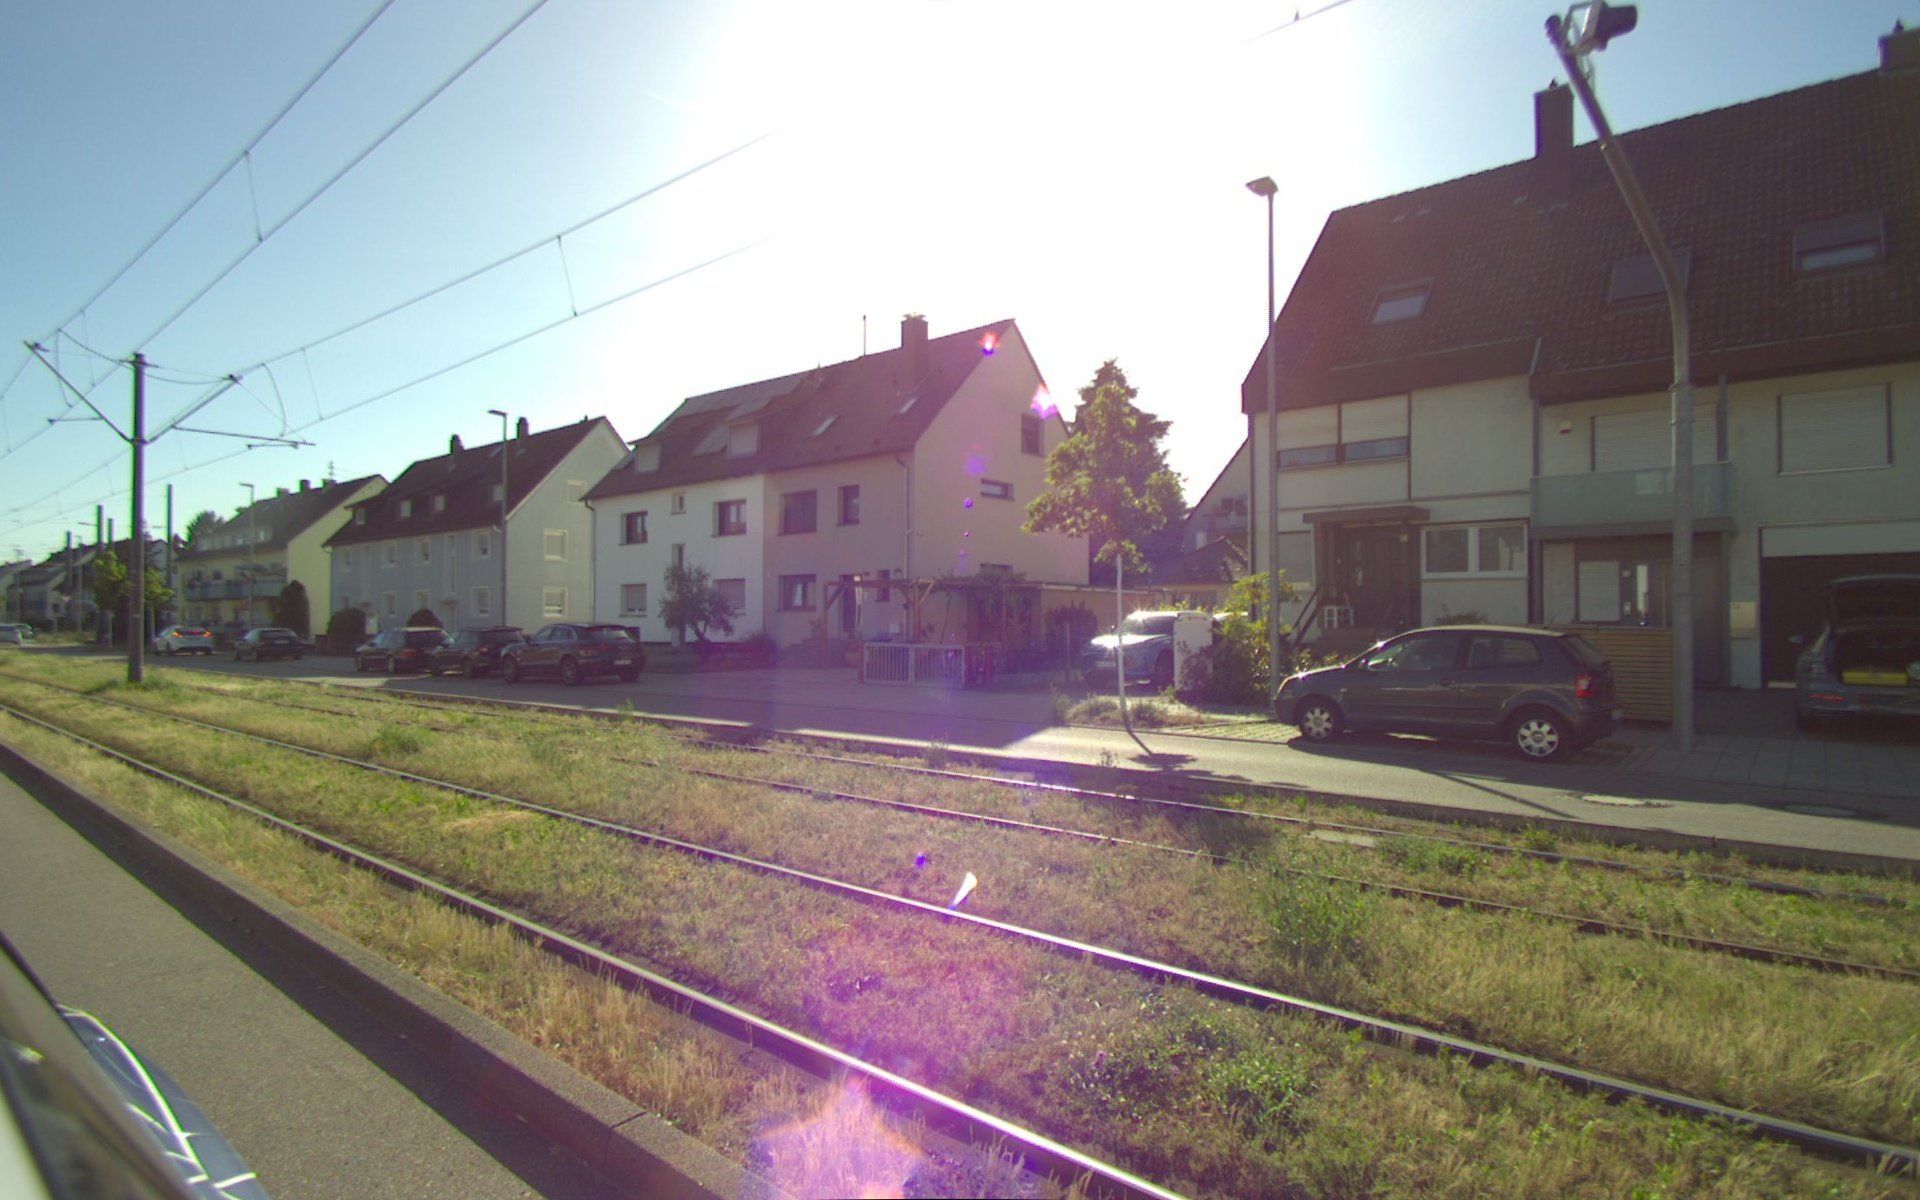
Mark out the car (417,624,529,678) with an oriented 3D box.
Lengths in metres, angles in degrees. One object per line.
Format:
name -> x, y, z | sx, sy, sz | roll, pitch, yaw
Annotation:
car -> -14.318, 1.478, 29.669 | 3.996, 1.479, 1.450 | -2, -3, 40

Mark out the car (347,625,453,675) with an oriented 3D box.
car -> -18.356, 1.600, 33.104 | 4.398, 1.466, 1.636 | -1, 0, 41

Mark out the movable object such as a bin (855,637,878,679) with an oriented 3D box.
movable object such as a bin -> -2.329, 1.433, 25.140 | 0.607, 1.021, 0.196 | -3, -2, 44

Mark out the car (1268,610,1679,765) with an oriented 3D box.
car -> 5.968, 0.921, 12.081 | 4.085, 1.523, 1.601 | -2, -1, 43

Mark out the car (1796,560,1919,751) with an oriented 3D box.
car -> 12.206, 0.567, 13.185 | 1.787, 2.096, 4.413 | -1, 2, 42

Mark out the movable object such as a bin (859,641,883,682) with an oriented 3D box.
movable object such as a bin -> -2.126, 1.458, 24.102 | 0.607, 0.954, 0.196 | -3, -2, 44

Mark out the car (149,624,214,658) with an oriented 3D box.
car -> -38.776, 2.018, 50.403 | 4.091, 1.542, 1.808 | -1, 0, 41

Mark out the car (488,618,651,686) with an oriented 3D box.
car -> -10.266, 1.282, 26.399 | 4.856, 1.572, 1.901 | -1, 0, 41

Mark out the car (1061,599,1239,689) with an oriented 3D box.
car -> 4.348, 0.933, 22.684 | 1.969, 1.797, 4.346 | -2, -2, 41

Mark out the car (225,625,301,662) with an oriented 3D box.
car -> -29.477, 1.801, 42.774 | 4.091, 1.408, 1.682 | -1, 0, 41

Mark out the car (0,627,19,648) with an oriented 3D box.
car -> -70.589, 2.735, 74.372 | 4.091, 1.475, 1.682 | -1, 0, 41

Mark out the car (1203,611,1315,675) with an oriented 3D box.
car -> 8.189, 1.128, 27.554 | 1.508, 1.605, 3.796 | -1, -2, 40
